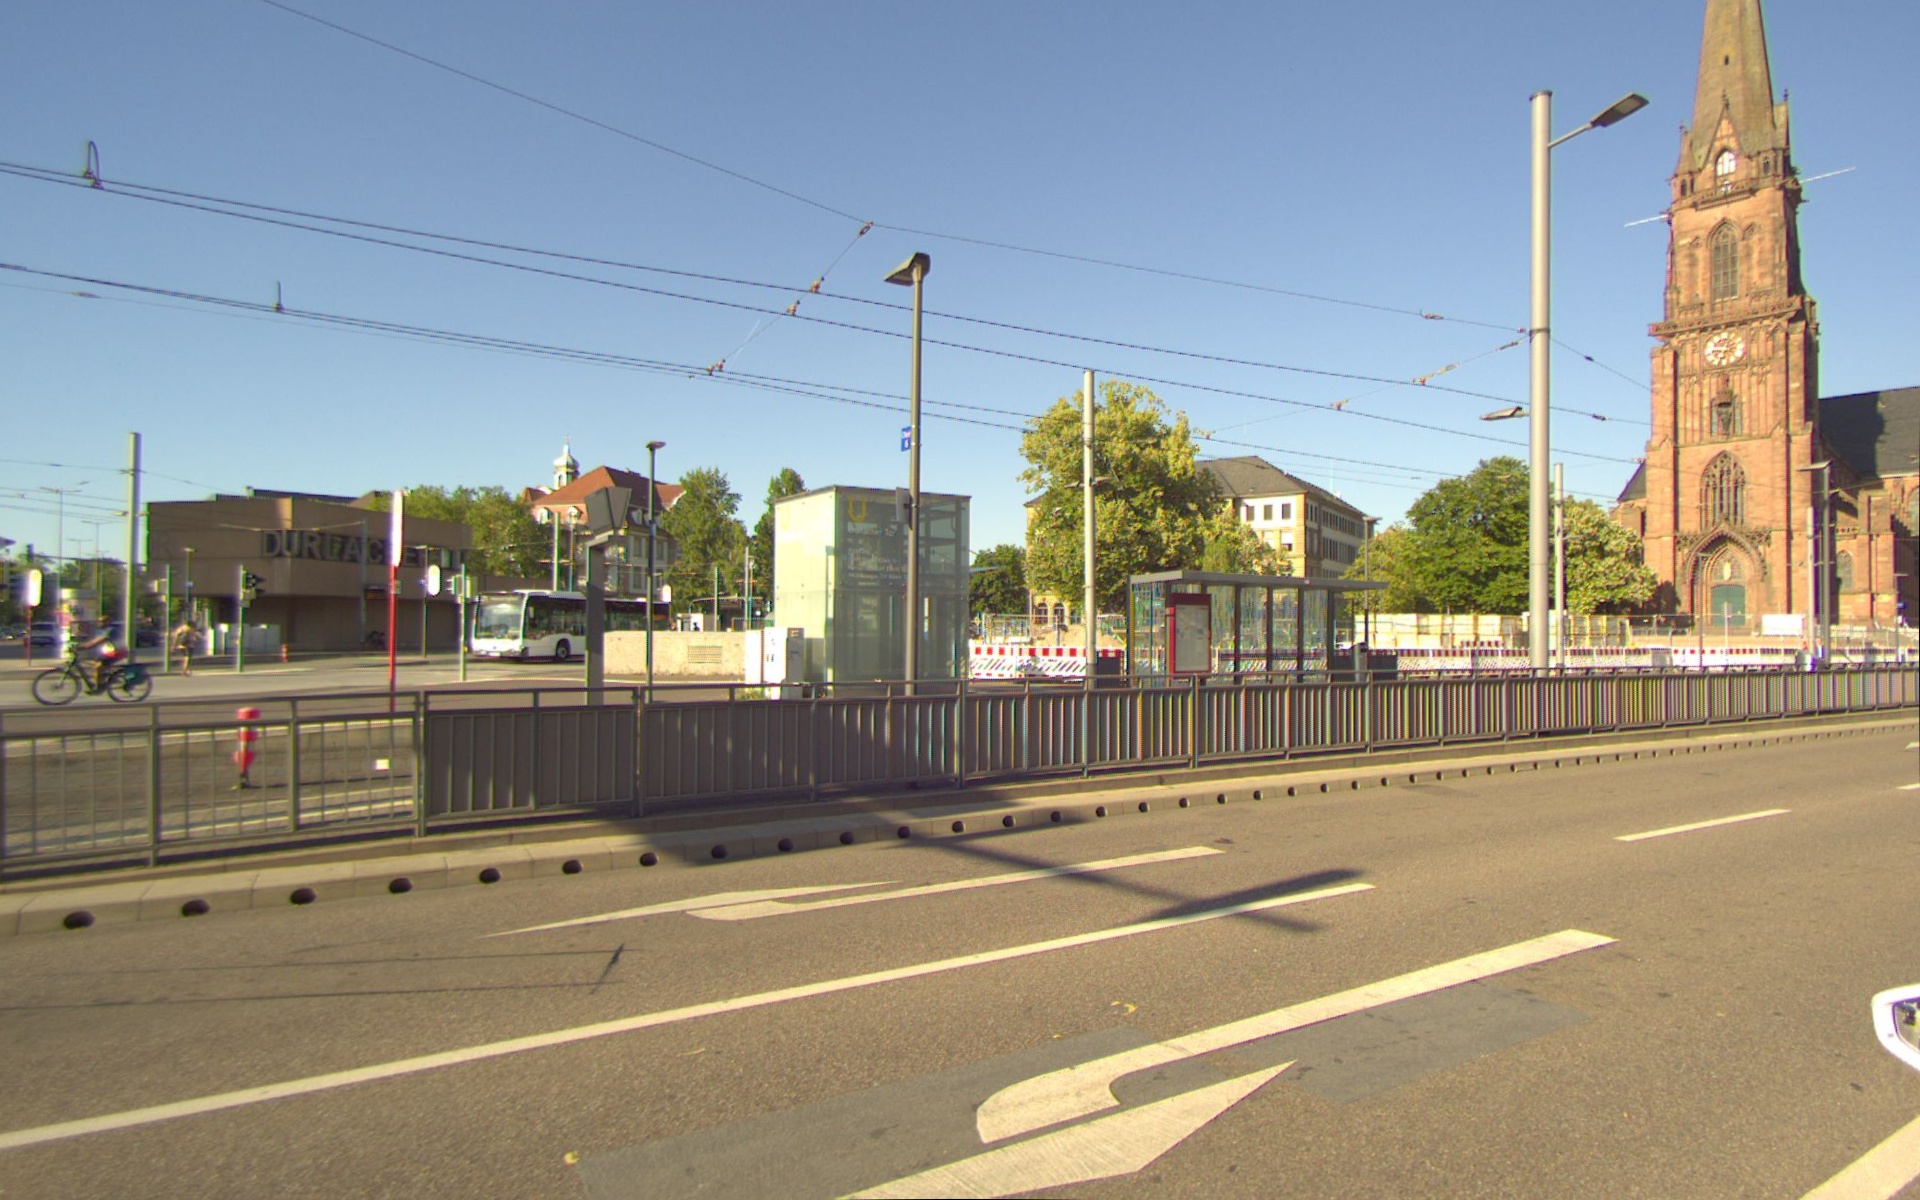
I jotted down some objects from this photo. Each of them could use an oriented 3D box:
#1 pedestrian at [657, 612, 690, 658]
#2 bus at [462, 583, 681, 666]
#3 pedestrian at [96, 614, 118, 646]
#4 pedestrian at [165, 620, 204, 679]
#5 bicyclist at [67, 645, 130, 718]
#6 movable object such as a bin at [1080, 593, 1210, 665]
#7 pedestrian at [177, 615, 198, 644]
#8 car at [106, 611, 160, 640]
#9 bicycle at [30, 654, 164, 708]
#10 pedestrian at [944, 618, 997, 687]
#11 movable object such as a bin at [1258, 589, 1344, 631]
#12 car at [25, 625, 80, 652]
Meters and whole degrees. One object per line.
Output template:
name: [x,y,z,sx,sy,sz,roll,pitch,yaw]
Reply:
pedestrian: [-11.156,1.354,39.155,1.036,1.708,0.728,-2,-1,-2]
bus: [-17.495,1.064,46.881,2.784,3.236,12.668,-3,-1,13]
pedestrian: [-48.340,1.712,56.961,0.796,1.792,0.964,-2,-1,-34]
pedestrian: [-23.348,1.495,30.232,1.042,1.708,0.724,-3,-1,43]
bicyclist: [-17.334,1.618,20.238,0.894,1.362,0.806,3,1,-40]
movable object such as a bin: [7.218,1.076,38.731,2.597,2.559,5.142,-3,-1,41]
pedestrian: [-43.411,1.662,56.444,0.796,1.588,1.169,-2,-1,-34]
car: [-54.271,1.703,65.992,1.843,1.651,4.008,6,-5,-28]
bicycle: [-17.339,1.618,20.241,1.986,0.954,0.806,3,1,-40]
pedestrian: [0.289,1.429,27.496,1.166,1.792,0.798,-2,-1,-31]
movable object such as a bin: [14.092,0.398,41.430,3.821,1.608,1.167,-2,-1,-32]
car: [-58.577,2.462,64.886,1.700,1.652,3.843,-1,-1,-28]
